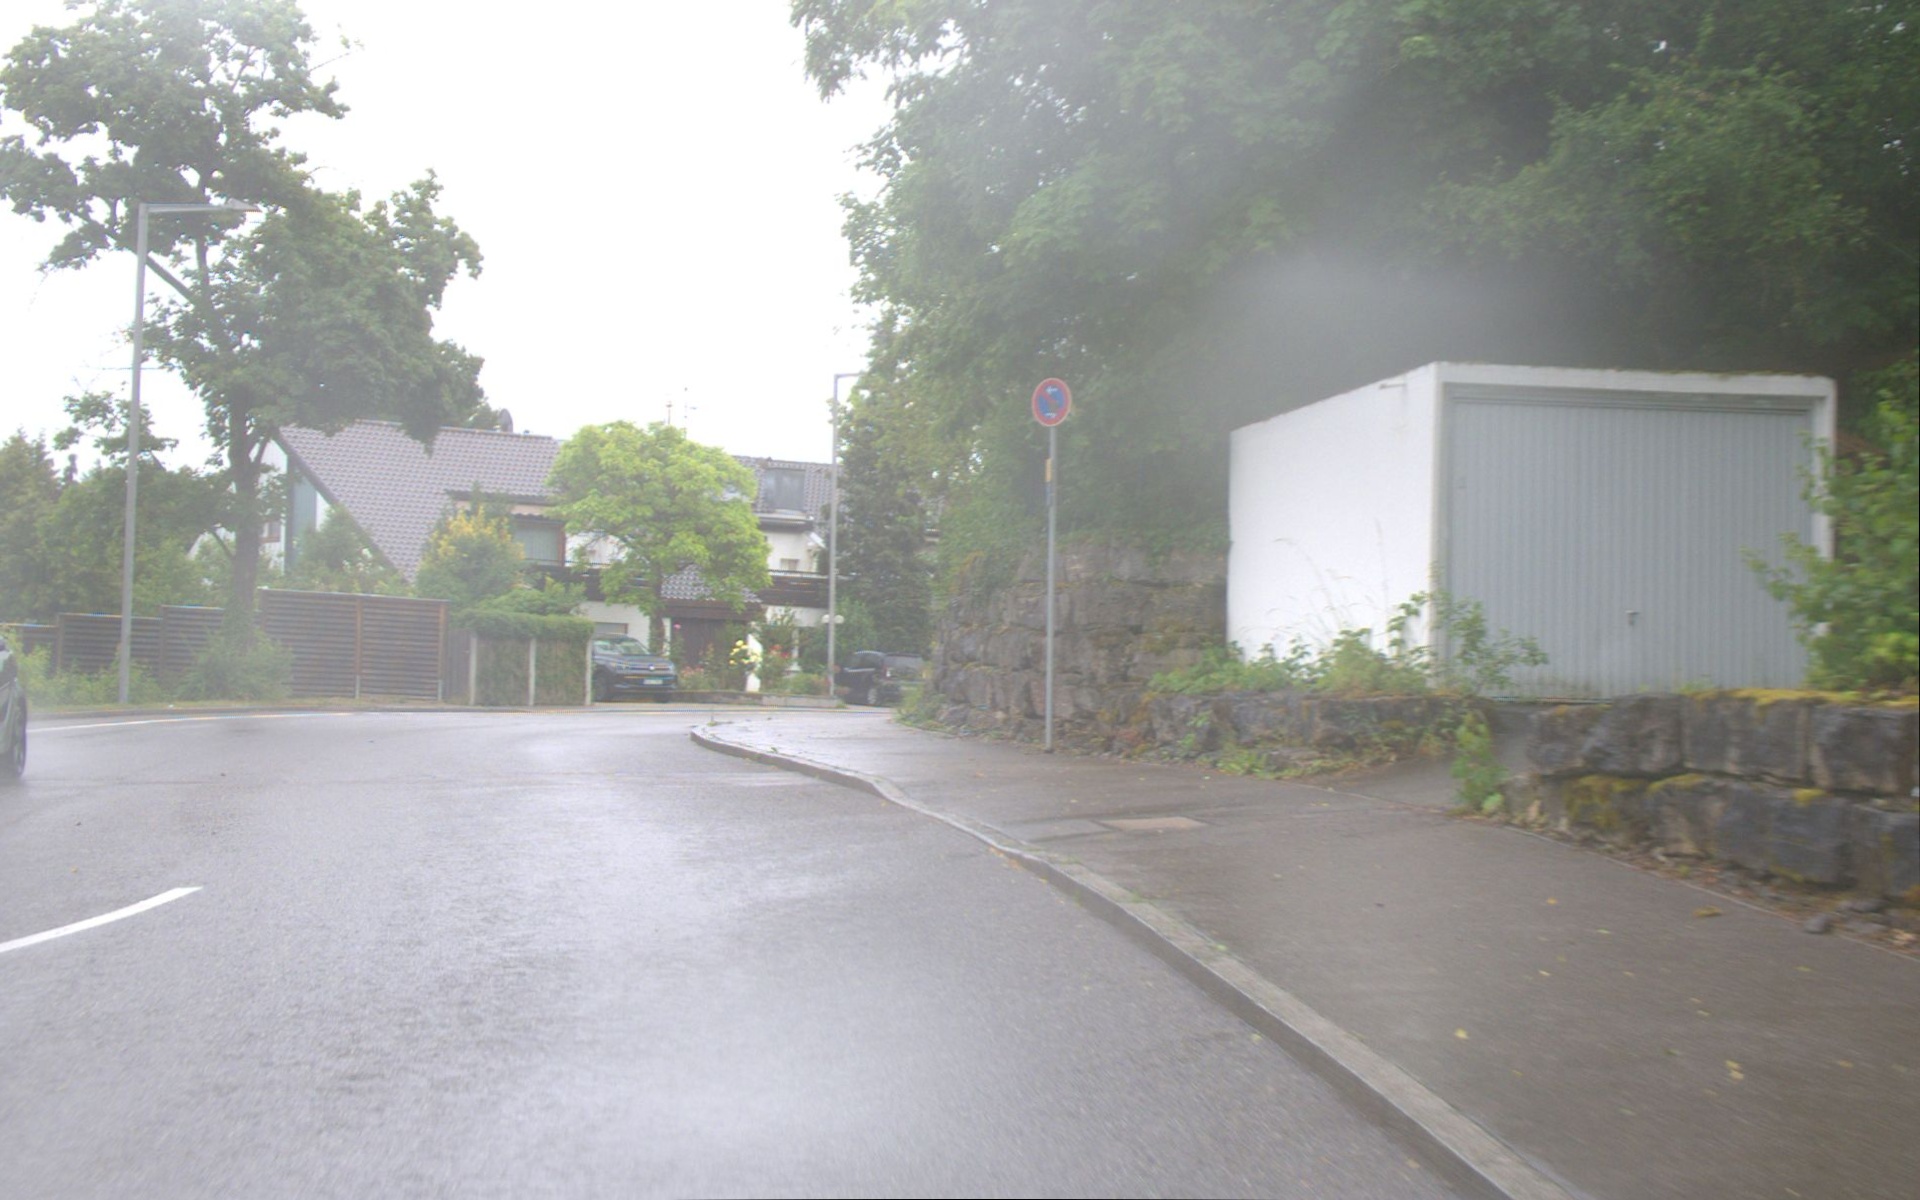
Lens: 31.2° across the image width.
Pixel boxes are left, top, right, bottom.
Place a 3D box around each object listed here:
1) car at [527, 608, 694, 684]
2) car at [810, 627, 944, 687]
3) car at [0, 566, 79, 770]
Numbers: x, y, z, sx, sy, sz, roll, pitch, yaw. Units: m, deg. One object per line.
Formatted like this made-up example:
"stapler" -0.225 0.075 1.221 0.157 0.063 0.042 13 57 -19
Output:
"car" -8.431 1.096 82.783 2.008 1.626 3.999 4 -1 -40
"car" -2.206 1.497 90.657 1.934 1.385 4.001 4 -1 -27
"car" -8.191 0.520 26.890 1.831 1.515 4.627 -1 0 -6
